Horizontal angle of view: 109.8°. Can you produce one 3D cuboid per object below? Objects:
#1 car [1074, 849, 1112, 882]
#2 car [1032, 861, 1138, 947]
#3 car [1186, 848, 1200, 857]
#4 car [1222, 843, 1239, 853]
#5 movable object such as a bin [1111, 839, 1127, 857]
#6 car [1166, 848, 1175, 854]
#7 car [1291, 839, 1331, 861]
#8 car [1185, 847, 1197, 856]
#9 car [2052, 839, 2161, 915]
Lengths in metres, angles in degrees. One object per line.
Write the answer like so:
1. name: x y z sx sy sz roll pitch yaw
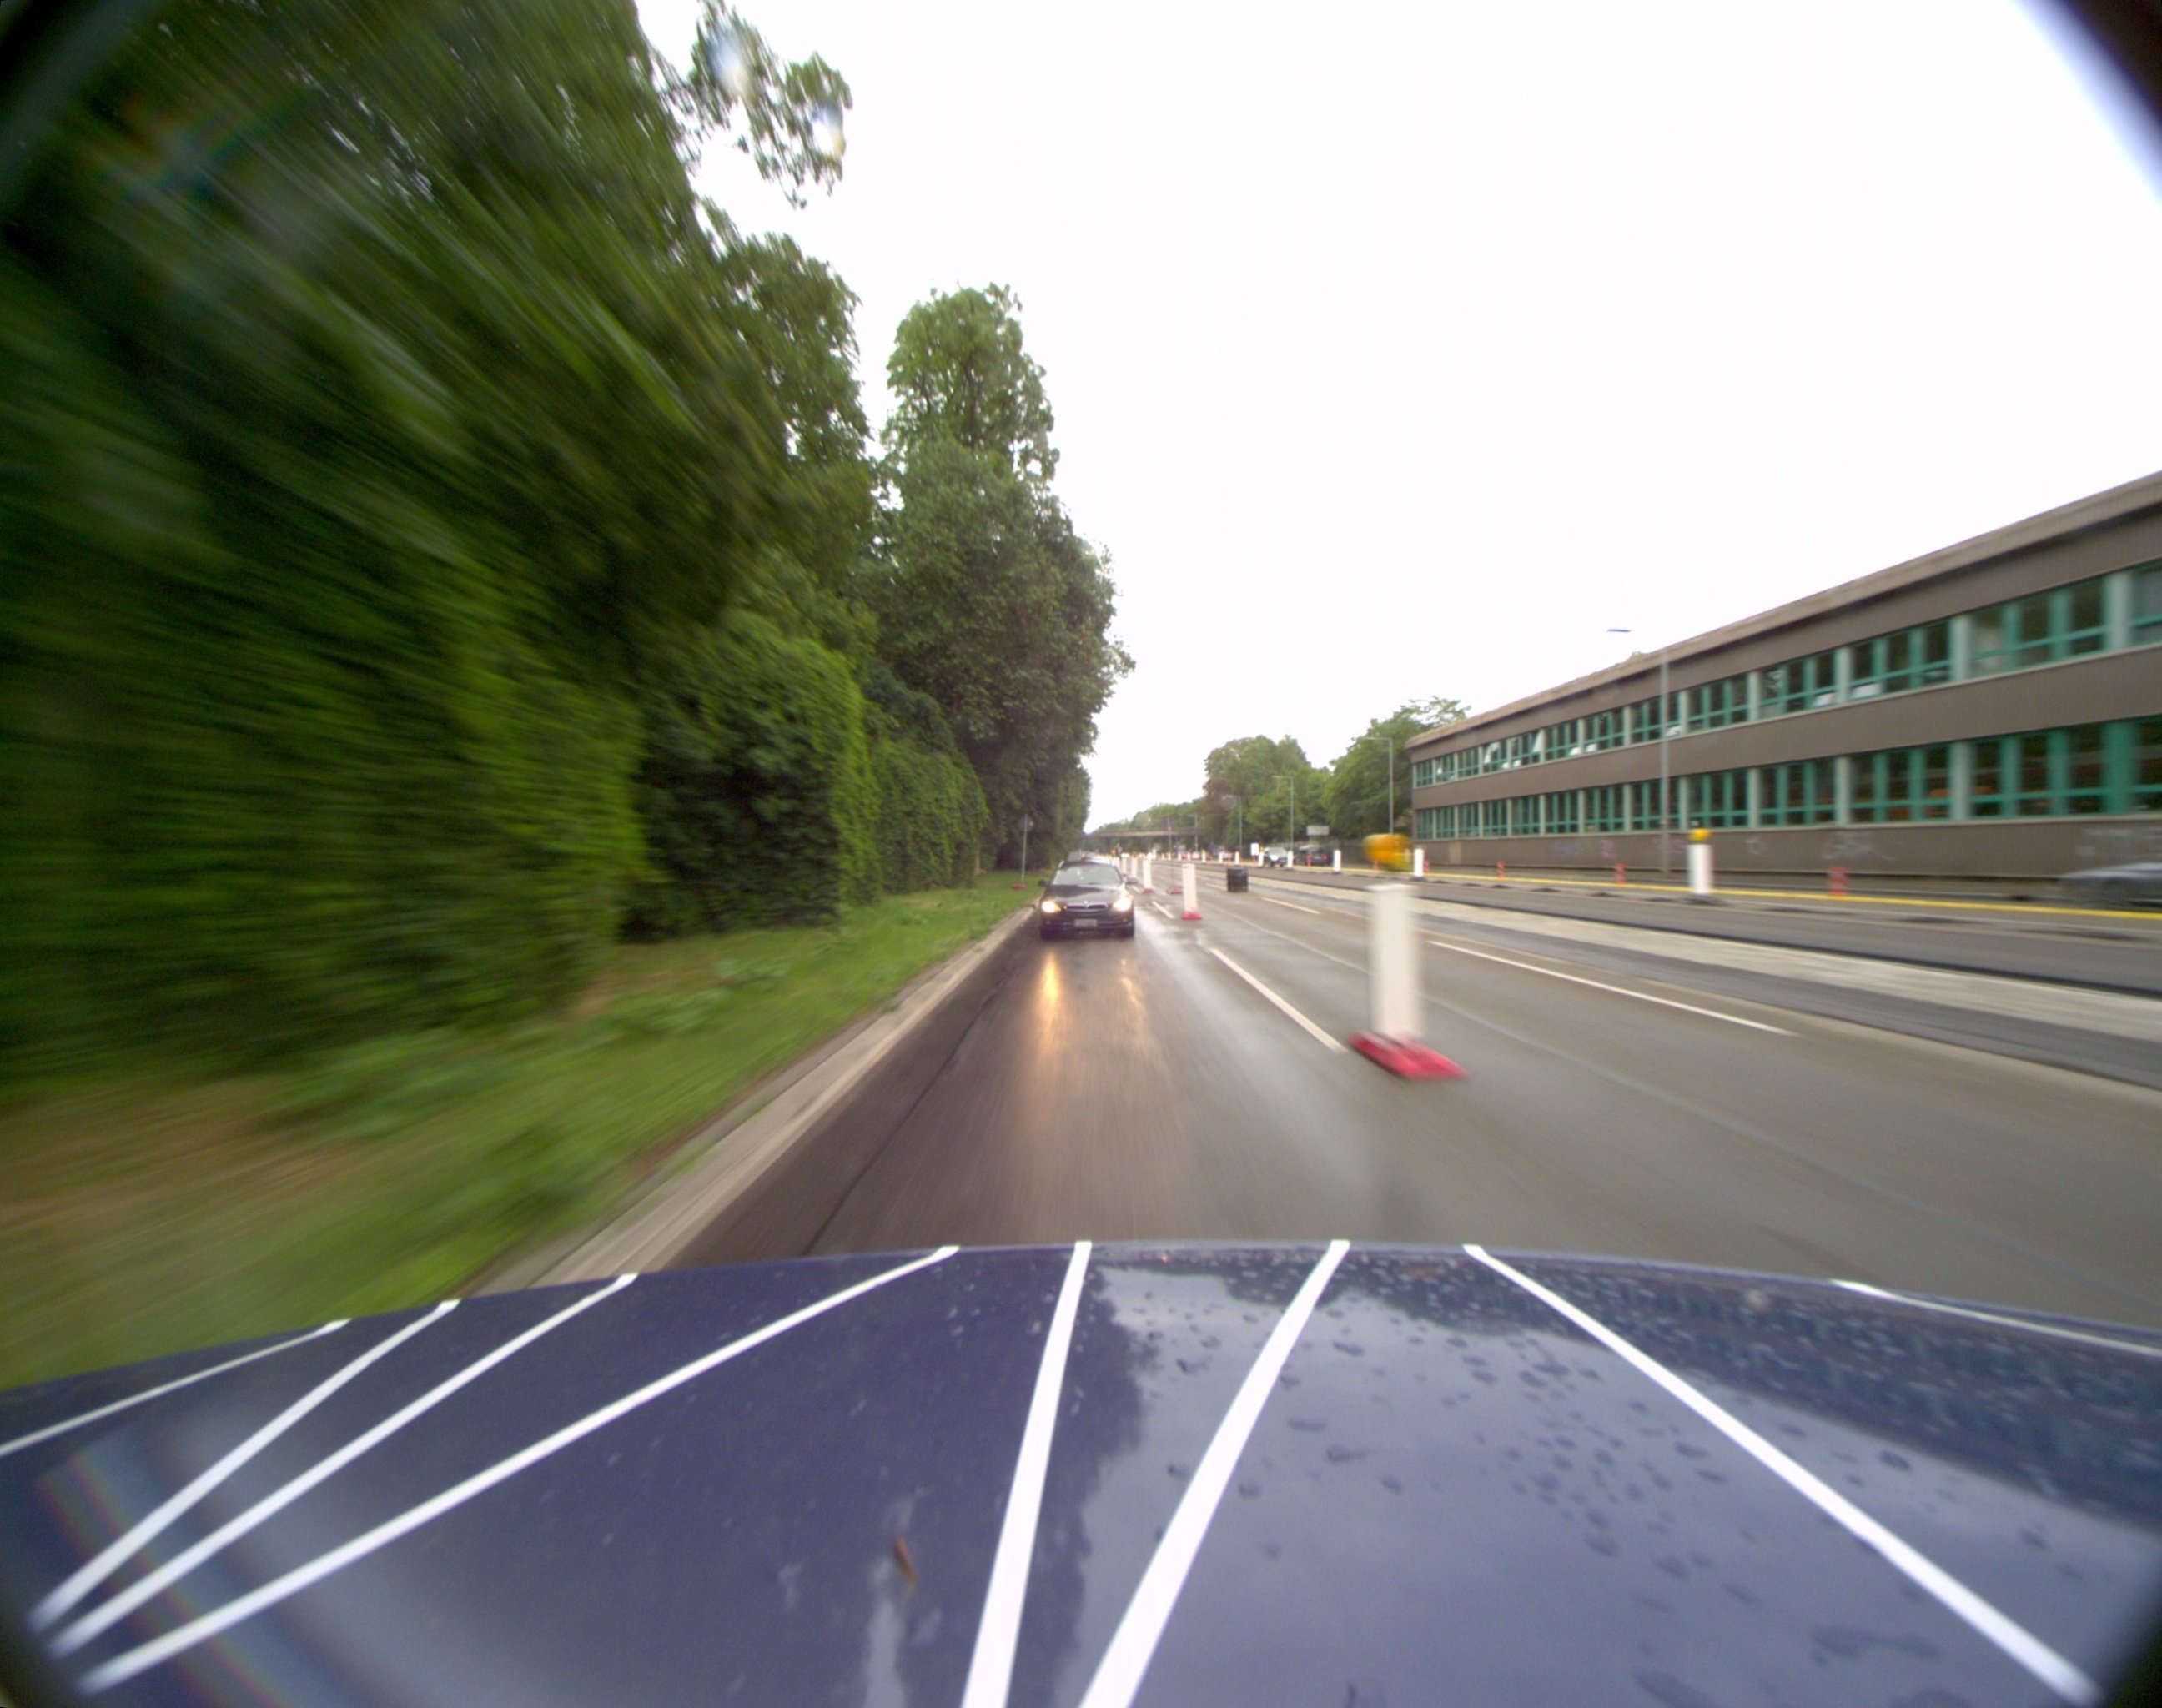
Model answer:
1. car: 0.678 0.596 42.735 1.998 1.650 4.229 -2 1 1
2. car: 0.057 0.908 15.579 1.838 1.397 3.999 -2 1 -1
3. car: 20.080 -0.356 136.452 1.808 1.525 3.991 -2 1 1
4. car: 24.276 -0.975 123.263 1.998 1.577 4.178 -2 1 1
5. movable object such as a bin: 9.672 -1.560 192.611 3.526 4.495 10.069 -2 1 1
6. car: 24.161 -0.753 204.670 1.999 1.421 4.264 -2 0 0
7. car: 19.812 -0.334 65.556 1.998 1.770 4.954 -2 1 1
8. car: 22.090 -0.524 152.558 1.993 1.758 4.674 -2 1 2
9. car: 20.882 0.434 13.184 1.998 1.340 4.790 -2 1 1
